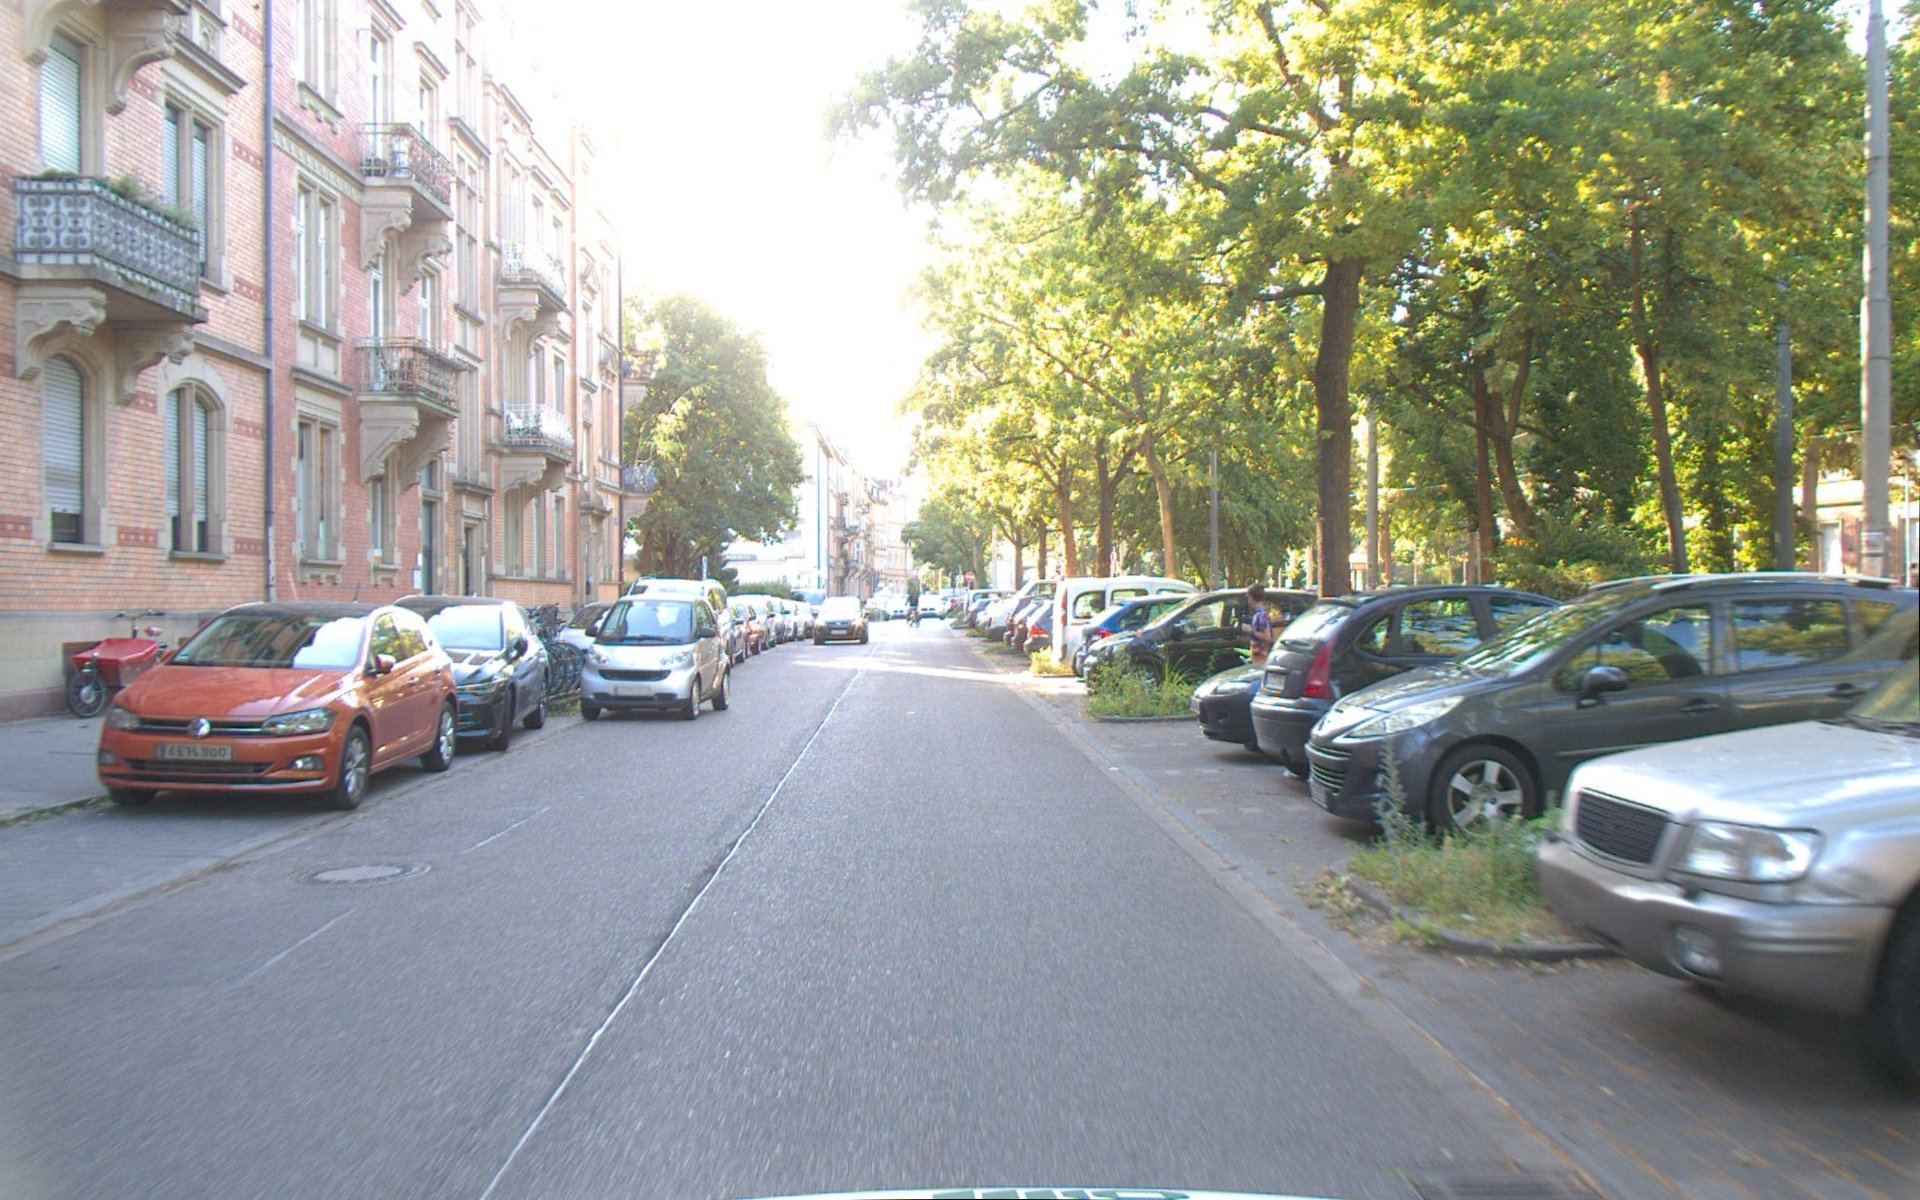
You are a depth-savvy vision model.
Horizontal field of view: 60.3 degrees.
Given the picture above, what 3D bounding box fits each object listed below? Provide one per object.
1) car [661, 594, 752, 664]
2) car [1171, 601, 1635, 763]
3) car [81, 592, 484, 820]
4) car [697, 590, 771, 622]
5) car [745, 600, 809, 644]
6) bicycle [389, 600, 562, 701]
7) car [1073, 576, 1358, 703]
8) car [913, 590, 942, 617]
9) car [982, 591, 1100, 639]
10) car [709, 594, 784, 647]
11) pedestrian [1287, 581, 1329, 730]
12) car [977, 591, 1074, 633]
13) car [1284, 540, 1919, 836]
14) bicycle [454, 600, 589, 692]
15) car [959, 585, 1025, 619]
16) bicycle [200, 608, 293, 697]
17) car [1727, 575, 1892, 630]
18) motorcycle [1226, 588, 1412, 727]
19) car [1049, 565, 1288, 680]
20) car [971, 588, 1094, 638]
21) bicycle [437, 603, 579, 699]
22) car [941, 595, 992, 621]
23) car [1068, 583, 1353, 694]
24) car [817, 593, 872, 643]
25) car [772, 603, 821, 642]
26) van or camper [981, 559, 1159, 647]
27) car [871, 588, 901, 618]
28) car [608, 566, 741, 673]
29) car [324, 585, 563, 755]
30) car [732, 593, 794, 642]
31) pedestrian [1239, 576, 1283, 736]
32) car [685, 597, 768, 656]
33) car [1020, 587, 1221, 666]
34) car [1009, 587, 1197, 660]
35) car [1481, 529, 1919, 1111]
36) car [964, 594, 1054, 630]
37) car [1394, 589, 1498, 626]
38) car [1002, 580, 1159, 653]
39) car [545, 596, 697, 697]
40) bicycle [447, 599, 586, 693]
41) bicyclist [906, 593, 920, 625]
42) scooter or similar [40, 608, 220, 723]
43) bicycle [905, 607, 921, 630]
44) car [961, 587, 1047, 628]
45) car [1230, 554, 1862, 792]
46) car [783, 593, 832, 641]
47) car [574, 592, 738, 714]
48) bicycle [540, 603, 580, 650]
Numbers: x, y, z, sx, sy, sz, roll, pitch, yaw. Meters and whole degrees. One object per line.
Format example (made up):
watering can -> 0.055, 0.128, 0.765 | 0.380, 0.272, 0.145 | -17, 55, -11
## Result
car -> -5.831, 0.638, 38.420 | 1.636, 1.512, 3.998 | 1, 0, -2
car -> 3.950, 0.704, 15.148 | 3.766, 1.301, 1.690 | -1, 0, -3
car -> -5.151, 0.713, 13.189 | 1.719, 1.489, 3.997 | 2, 0, -3
car -> -12.829, 0.362, 94.022 | 3.905, 1.736, 1.999 | 1, -2, -1
car -> -6.554, 0.760, 59.603 | 1.720, 1.491, 4.268 | 1, 0, 1
bicycle -> -6.085, 0.646, 20.827 | 2.055, 1.236, 0.439 | 1, -2, -17
car -> 3.451, 0.520, 22.778 | 3.600, 1.528, 1.761 | -2, 0, -1
car -> -2.125, 0.227, 106.588 | 1.743, 1.703, 4.485 | 1, 0, -2
car -> 2.802, 0.540, 57.764 | 3.908, 1.575, 1.857 | 1, -2, -5
car -> -6.298, 0.590, 49.077 | 1.669, 1.454, 3.877 | 2, 0, 0
pedestrian -> 3.704, 0.580, 17.592 | 0.372, 1.543, 0.519 | 0, 2, 18
car -> 2.769, 0.530, 70.409 | 3.908, 1.729, 1.857 | 1, -2, -5
car -> 4.400, 0.499, 10.438 | 4.310, 1.619, 1.837 | -1, -1, -1
bicycle -> -6.025, 0.636, 22.772 | 1.727, 1.236, 0.428 | 1, -2, -2
car -> 2.019, 0.143, 103.999 | 3.902, 2.049, 2.001 | 0, -2, 10
bicycle -> -9.620, 0.709, 22.356 | 0.418, 1.150, 1.769 | 0, -2, 2
car -> 27.694, 0.110, 54.092 | 4.603, 1.713, 1.999 | 0, -2, 22
motorcycle -> 4.017, 0.645, 18.669 | 1.822, 1.488, 1.263 | 1, -2, 0
car -> 3.796, 0.404, 30.635 | 4.134, 1.896, 1.761 | -2, 0, -1
car -> 2.625, 0.495, 60.376 | 4.303, 1.729, 1.857 | 1, -2, -5
bicycle -> -5.930, 0.669, 21.747 | 1.727, 1.236, 0.441 | 1, -2, -2
car -> 0.553, 0.626, 135.486 | 3.902, 2.049, 2.001 | 0, -2, 10
car -> 3.781, 0.565, 25.346 | 4.001, 1.467, 1.760 | -2, 0, -4
car -> -3.715, 0.557, 53.567 | 1.635, 1.489, 3.998 | -2, 0, -2
car -> -6.728, 0.905, 68.257 | 1.721, 1.491, 4.266 | 1, 0, -2
van or camper -> 3.127, 0.115, 47.781 | 4.882, 2.419, 2.183 | 1, -2, -3
car -> -4.887, 0.188, 109.651 | 1.954, 1.870, 3.997 | 1, -2, -3
car -> -5.580, 0.428, 32.905 | 1.954, 1.955, 5.037 | 1, -2, -3
car -> -5.346, 0.669, 17.625 | 1.714, 1.573, 4.145 | 1, 0, -8
car -> -6.530, 0.556, 55.084 | 1.721, 1.542, 4.159 | 1, 0, -3
pedestrian -> 3.101, 0.566, 17.035 | 0.372, 1.612, 0.519 | 0, 2, 18
car -> -6.115, 0.663, 43.645 | 1.636, 1.454, 4.240 | 1, 0, -1
car -> 3.380, 0.556, 35.251 | 4.132, 1.478, 1.649 | -2, 0, 2
car -> 3.250, 0.517, 38.143 | 4.134, 1.478, 1.864 | -2, 0, -1
car -> 4.247, 0.580, 5.656 | 4.311, 1.619, 1.837 | -1, -1, -2
car -> 2.222, 0.564, 75.364 | 3.908, 1.591, 1.857 | 1, -2, -5
car -> 22.969, 0.369, 78.184 | 4.602, 1.713, 2.000 | 0, -2, 21
car -> 3.100, 0.424, 43.216 | 3.906, 1.721, 1.859 | -2, 0, -1
car -> -5.482, 0.707, 27.239 | 1.640, 1.480, 4.209 | -2, 0, -1
bicycle -> -5.961, 0.622, 22.263 | 1.727, 1.236, 0.464 | 1, -2, -2
bicyclist -> -2.386, 0.443, 83.650 | 0.616, 1.601, 0.800 | 1, -2, -8
scooter or similar -> -9.599, 0.745, 19.273 | 0.767, 1.244, 2.703 | 1, -2, -2
bicycle -> -2.400, 0.948, 83.643 | 0.629, 1.119, 1.940 | 1, -2, -7
car -> 2.066, 0.371, 78.034 | 3.908, 1.825, 1.857 | 1, -2, -5
car -> 4.489, 0.529, 13.041 | 4.315, 1.619, 1.835 | -1, -1, -6
car -> -6.761, 0.738, 73.792 | 1.918, 2.053, 4.266 | 1, 0, -2
car -> -3.927, 0.651, 21.723 | 1.473, 1.460, 2.754 | -2, 0, 3
bicycle -> -10.220, 0.685, 42.340 | 0.691, 1.167, 1.887 | 1, -2, -5
